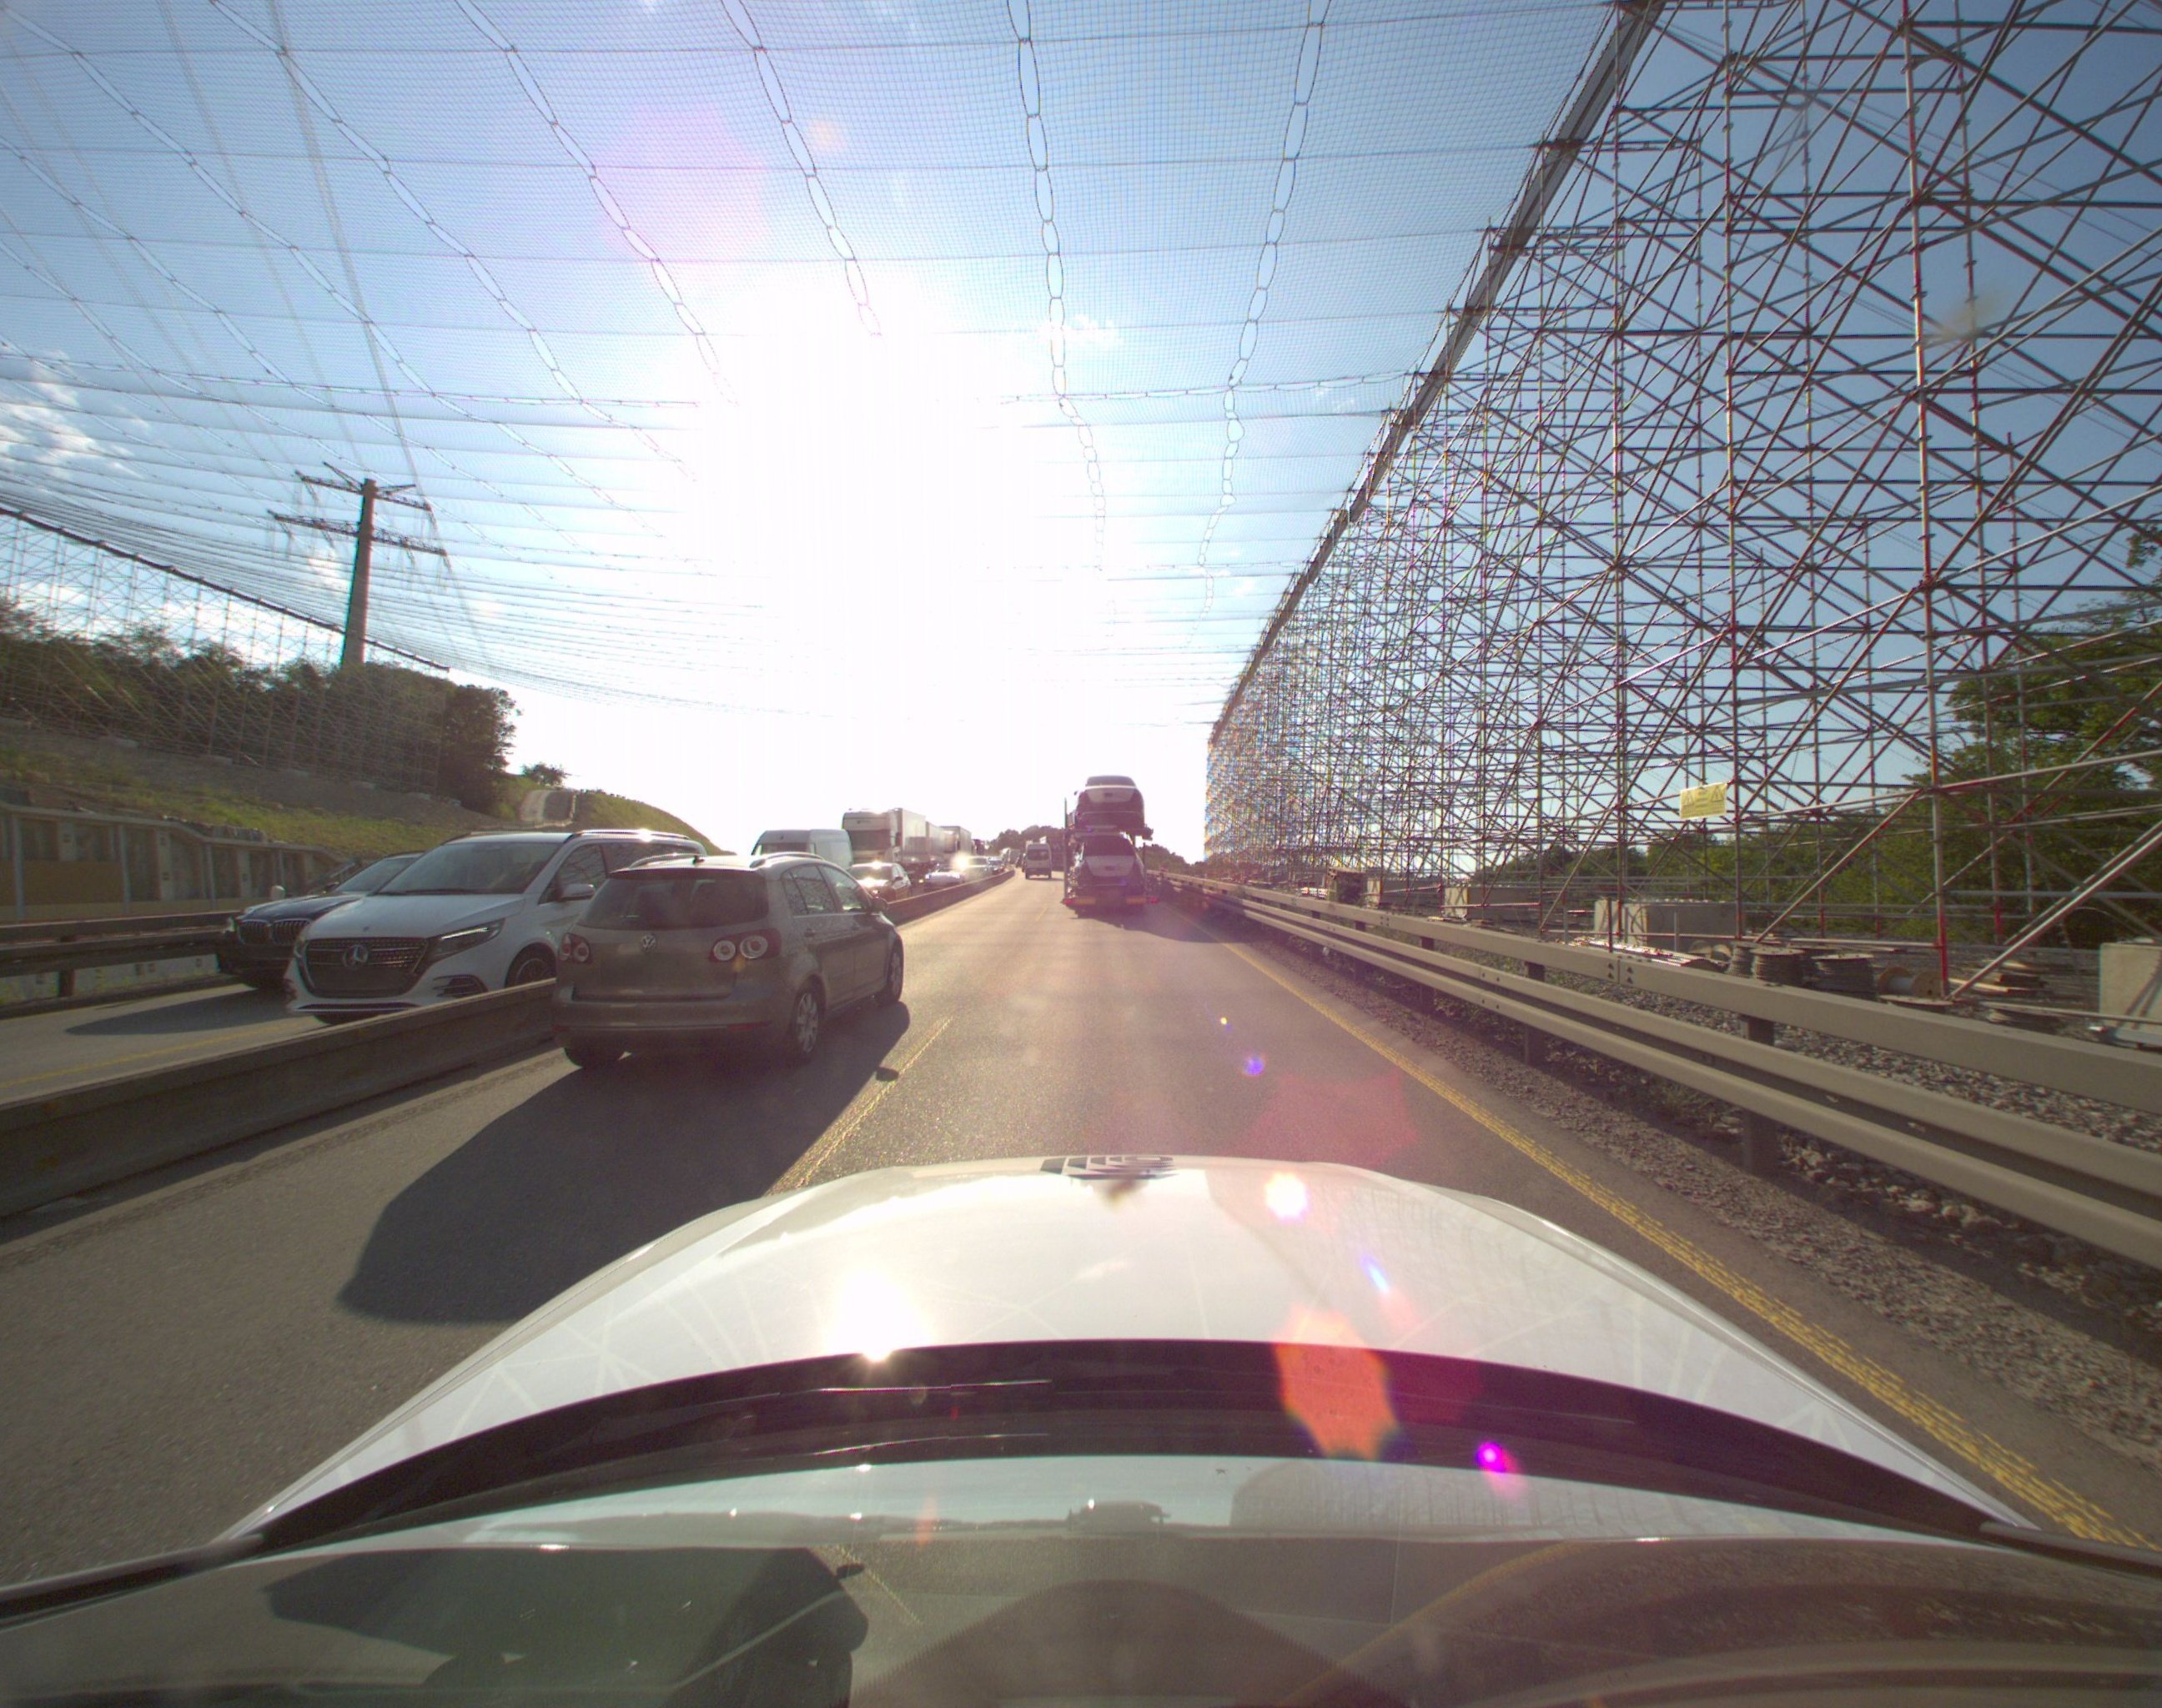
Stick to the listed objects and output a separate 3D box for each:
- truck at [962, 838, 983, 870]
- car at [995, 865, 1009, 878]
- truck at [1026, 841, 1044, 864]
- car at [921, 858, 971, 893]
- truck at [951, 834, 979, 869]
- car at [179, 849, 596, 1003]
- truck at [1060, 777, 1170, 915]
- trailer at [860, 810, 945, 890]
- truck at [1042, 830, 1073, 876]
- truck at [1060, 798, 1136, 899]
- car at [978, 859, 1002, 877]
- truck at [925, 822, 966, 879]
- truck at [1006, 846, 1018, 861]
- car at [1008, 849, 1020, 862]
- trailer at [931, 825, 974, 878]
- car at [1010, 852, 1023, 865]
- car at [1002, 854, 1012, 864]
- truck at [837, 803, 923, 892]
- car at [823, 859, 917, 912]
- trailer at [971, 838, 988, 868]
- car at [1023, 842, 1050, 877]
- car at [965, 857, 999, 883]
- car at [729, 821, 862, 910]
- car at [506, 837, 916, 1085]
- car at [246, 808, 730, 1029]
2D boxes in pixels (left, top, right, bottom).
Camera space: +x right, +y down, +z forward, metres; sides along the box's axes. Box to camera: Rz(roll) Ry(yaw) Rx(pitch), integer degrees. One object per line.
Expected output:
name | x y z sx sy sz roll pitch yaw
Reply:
truck | -13.139 -0.024 98.991 2.430 3.785 5.604 0 -1 -7
car | -10.429 2.320 107.501 1.749 1.587 3.934 0 -1 -6
truck | -7.436 -0.201 131.039 2.528 3.648 8.885 0 -1 -6
car | -6.382 0.997 38.829 1.804 1.568 4.361 0 -1 -3
truck | -11.598 -0.187 82.010 2.409 3.370 5.608 0 -1 -4
car | -9.523 0.855 11.922 1.818 1.727 4.936 -2 -1 0
truck | 0.775 -0.169 26.134 2.791 3.497 10.599 0 -1 -1
trailer | -10.161 -0.148 47.893 2.664 4.016 13.318 0 -1 -3
truck | -2.989 -0.071 99.295 3.280 5.237 9.919 0 -1 -4
truck | 0.565 -0.173 35.561 2.830 3.792 9.981 0 -1 -1
car | -7.696 1.146 69.538 1.774 1.450 4.657 0 -1 -3
truck | -10.089 -0.212 60.924 2.469 4.046 5.609 0 -1 -4
truck | -15.737 -0.067 185.140 2.587 3.170 6.664 0 -1 -5
car | -10.801 0.231 131.061 1.629 2.014 3.988 0 -1 -9
trailer | -10.536 -0.099 67.949 2.423 3.963 14.076 0 -1 -4
car | -8.841 0.583 111.715 1.823 1.772 3.993 0 -1 -4
car | -14.612 0.999 160.938 1.835 1.836 3.992 0 -1 -6
truck | -9.581 -0.261 39.585 2.624 3.910 7.198 0 -1 -2
car | -6.200 0.872 24.448 1.804 1.419 4.513 0 -1 -3
trailer | -15.761 -0.090 126.196 2.474 4.328 10.481 0 -1 -8
car | -3.434 0.432 61.823 1.918 2.492 5.399 0 -1 -5
car | -6.239 0.999 51.914 1.804 1.568 4.361 0 -1 -3
car | -9.662 0.374 28.379 2.235 2.713 7.078 0 -1 -1
car | -2.818 0.713 7.292 1.685 1.596 4.002 0 -1 3
car | -6.191 0.567 9.589 1.802 1.869 5.281 0 -1 0
